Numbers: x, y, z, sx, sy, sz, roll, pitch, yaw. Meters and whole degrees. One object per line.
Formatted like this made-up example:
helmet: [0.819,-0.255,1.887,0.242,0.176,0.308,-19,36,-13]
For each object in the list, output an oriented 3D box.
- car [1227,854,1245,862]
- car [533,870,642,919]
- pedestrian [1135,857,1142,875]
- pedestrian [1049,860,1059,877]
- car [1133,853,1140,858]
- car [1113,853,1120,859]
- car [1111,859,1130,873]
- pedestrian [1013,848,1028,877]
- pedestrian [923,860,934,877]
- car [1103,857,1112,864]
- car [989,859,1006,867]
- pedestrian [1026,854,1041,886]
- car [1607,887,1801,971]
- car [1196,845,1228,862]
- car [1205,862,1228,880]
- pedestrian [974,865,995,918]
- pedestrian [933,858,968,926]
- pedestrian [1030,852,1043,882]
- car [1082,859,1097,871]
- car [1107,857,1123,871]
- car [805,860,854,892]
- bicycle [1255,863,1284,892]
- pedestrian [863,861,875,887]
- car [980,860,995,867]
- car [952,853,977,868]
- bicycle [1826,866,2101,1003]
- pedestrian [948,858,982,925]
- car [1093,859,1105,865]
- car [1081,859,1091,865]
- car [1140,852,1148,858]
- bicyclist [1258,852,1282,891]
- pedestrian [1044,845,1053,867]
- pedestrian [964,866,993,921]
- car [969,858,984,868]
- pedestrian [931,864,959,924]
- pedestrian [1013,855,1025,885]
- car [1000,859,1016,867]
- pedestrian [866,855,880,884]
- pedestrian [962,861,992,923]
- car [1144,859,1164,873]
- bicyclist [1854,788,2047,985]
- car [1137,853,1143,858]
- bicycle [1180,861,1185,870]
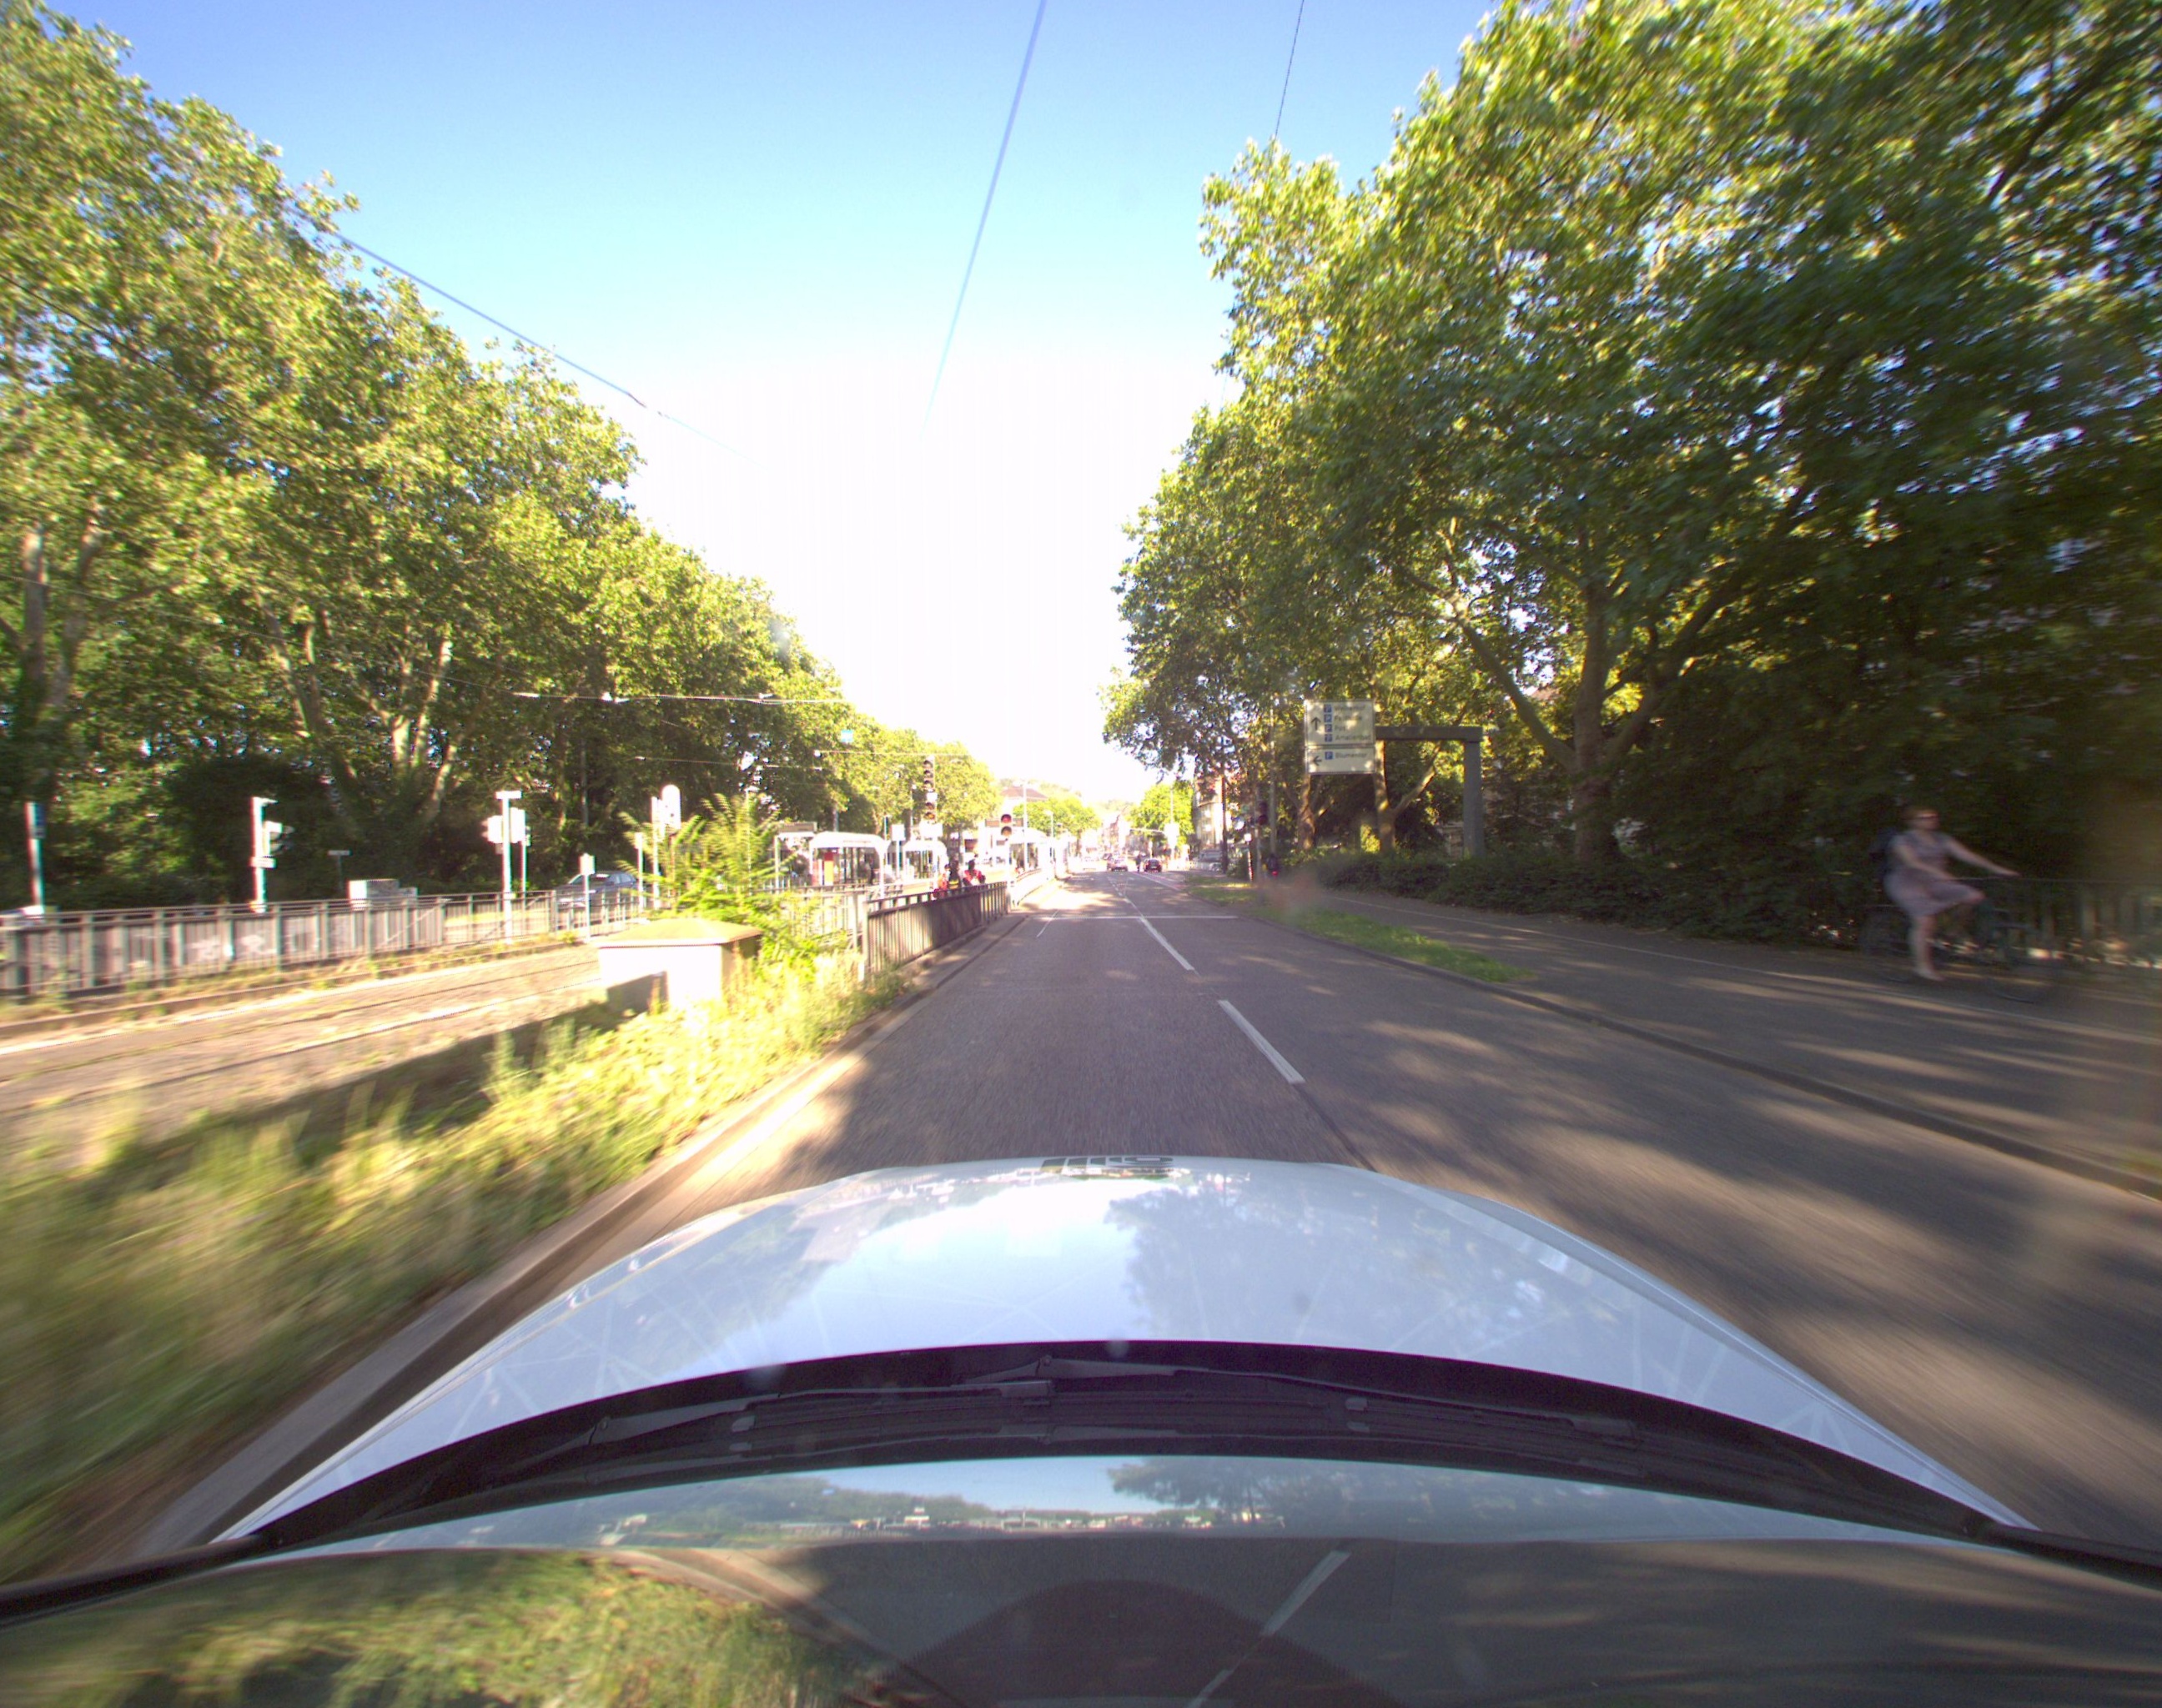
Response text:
car: [25.536,0.697,133.890,2.884,1.162,2.080,-1,-1,10]
car: [-19.130,1.518,31.791,1.898,1.652,3.969,-3,-1,-3]
pedestrian: [5.990,1.237,85.310,0.655,1.871,0.677,-1,-1,0]
pedestrian: [-2.039,1.085,61.862,0.676,1.309,0.593,-1,-1,1]
car: [17.783,0.470,260.432,1.788,1.510,4.000,-1,0,0]
car: [9.893,0.584,226.111,1.789,1.510,3.999,-1,0,-1]
car: [4.535,1.364,94.042,1.923,1.472,4.855,-1,0,1]
pedestrian: [-3.746,0.527,50.249,0.656,1.722,0.703,0,-1,-35]
pedestrian: [-12.448,1.198,66.504,0.668,1.324,0.756,-4,-1,-1]
car: [6.880,1.626,211.497,1.783,1.826,4.012,-2,0,11]
car: [-18.686,2.035,181.895,1.777,1.649,4.035,-2,0,30]
pedestrian: [-2.539,0.846,43.683,0.740,1.694,0.791,0,-1,1]
car: [15.821,1.824,21.010,1.897,1.812,4.099,0,0,1]
car: [21.653,-0.020,134.577,4.983,2.743,2.080,-1,-1,10]
car: [15.296,1.932,92.053,1.789,1.898,4.356,0,-1,-2]
pedestrian: [-2.502,0.970,21.038,0.414,1.320,0.359,-4,-1,1]
pedestrian: [-3.118,0.901,19.435,0.515,1.568,0.511,-4,-1,30]
pedestrian: [-2.784,0.792,50.613,0.647,1.841,0.712,0,-1,10]
car: [1.096,1.358,103.091,1.802,1.452,3.999,-1,0,0]
car: [4.173,1.202,101.275,1.794,1.638,4.044,-1,0,0]
car: [-18.565,1.608,60.336,2.061,2.124,5.087,-3,-1,-1]
bicycle: [7.582,0.923,32.859,0.763,1.107,1.800,-1,0,0]
pedestrian: [-13.008,1.228,49.968,0.590,1.544,0.627,0,-1,1]
car: [-21.018,2.160,183.914,1.779,1.510,4.030,-2,0,19]
car: [-26.629,1.504,185.826,2.473,3.165,6.571,-2,0,23]
bicycle: [8.220,0.687,7.742,0.695,1.107,1.934,-2,0,8]
pedestrian: [-2.832,0.906,19.841,0.515,1.568,0.511,-4,-1,30]
car: [4.525,1.990,204.062,1.779,1.510,4.019,-2,-1,19]
car: [1.259,1.928,196.009,1.784,1.510,4.008,-2,-1,7]
car: [19.019,0.273,247.743,2.098,1.776,4.341,-1,0,0]
bicyclist: [7.567,0.690,32.666,0.763,1.513,0.650,-1,0,0]
pedestrian: [-2.588,0.157,65.181,0.592,1.678,0.590,-1,-1,5]
pedestrian: [-2.732,1.038,21.688,0.592,1.406,0.556,-3,-1,-20]
car: [-23.676,2.025,184.431,1.779,1.956,4.020,-2,0,19]
pedestrian: [-3.441,1.002,20.588,0.518,1.472,0.514,-4,-1,1]
pedestrian: [-3.304,0.858,43.586,0.586,1.567,0.650,0,-1,1]
car: [-16.247,1.959,181.185,1.904,1.649,4.202,-2,0,21]
pedestrian: [-12.935,0.986,50.684,0.645,1.772,0.650,0,-1,3]
pedestrian: [-2.617,0.944,20.537,0.587,1.519,0.514,-4,-1,1]
car: [7.931,1.264,88.938,1.794,1.439,4.045,0,0,0]
bicyclist: [8.213,0.292,7.753,0.695,1.728,1.082,-2,0,8]
car: [18.394,0.448,254.270,1.788,1.510,4.000,-1,0,0]
bicycle: [12.993,1.456,104.453,0.497,1.075,1.800,0,-1,1]
